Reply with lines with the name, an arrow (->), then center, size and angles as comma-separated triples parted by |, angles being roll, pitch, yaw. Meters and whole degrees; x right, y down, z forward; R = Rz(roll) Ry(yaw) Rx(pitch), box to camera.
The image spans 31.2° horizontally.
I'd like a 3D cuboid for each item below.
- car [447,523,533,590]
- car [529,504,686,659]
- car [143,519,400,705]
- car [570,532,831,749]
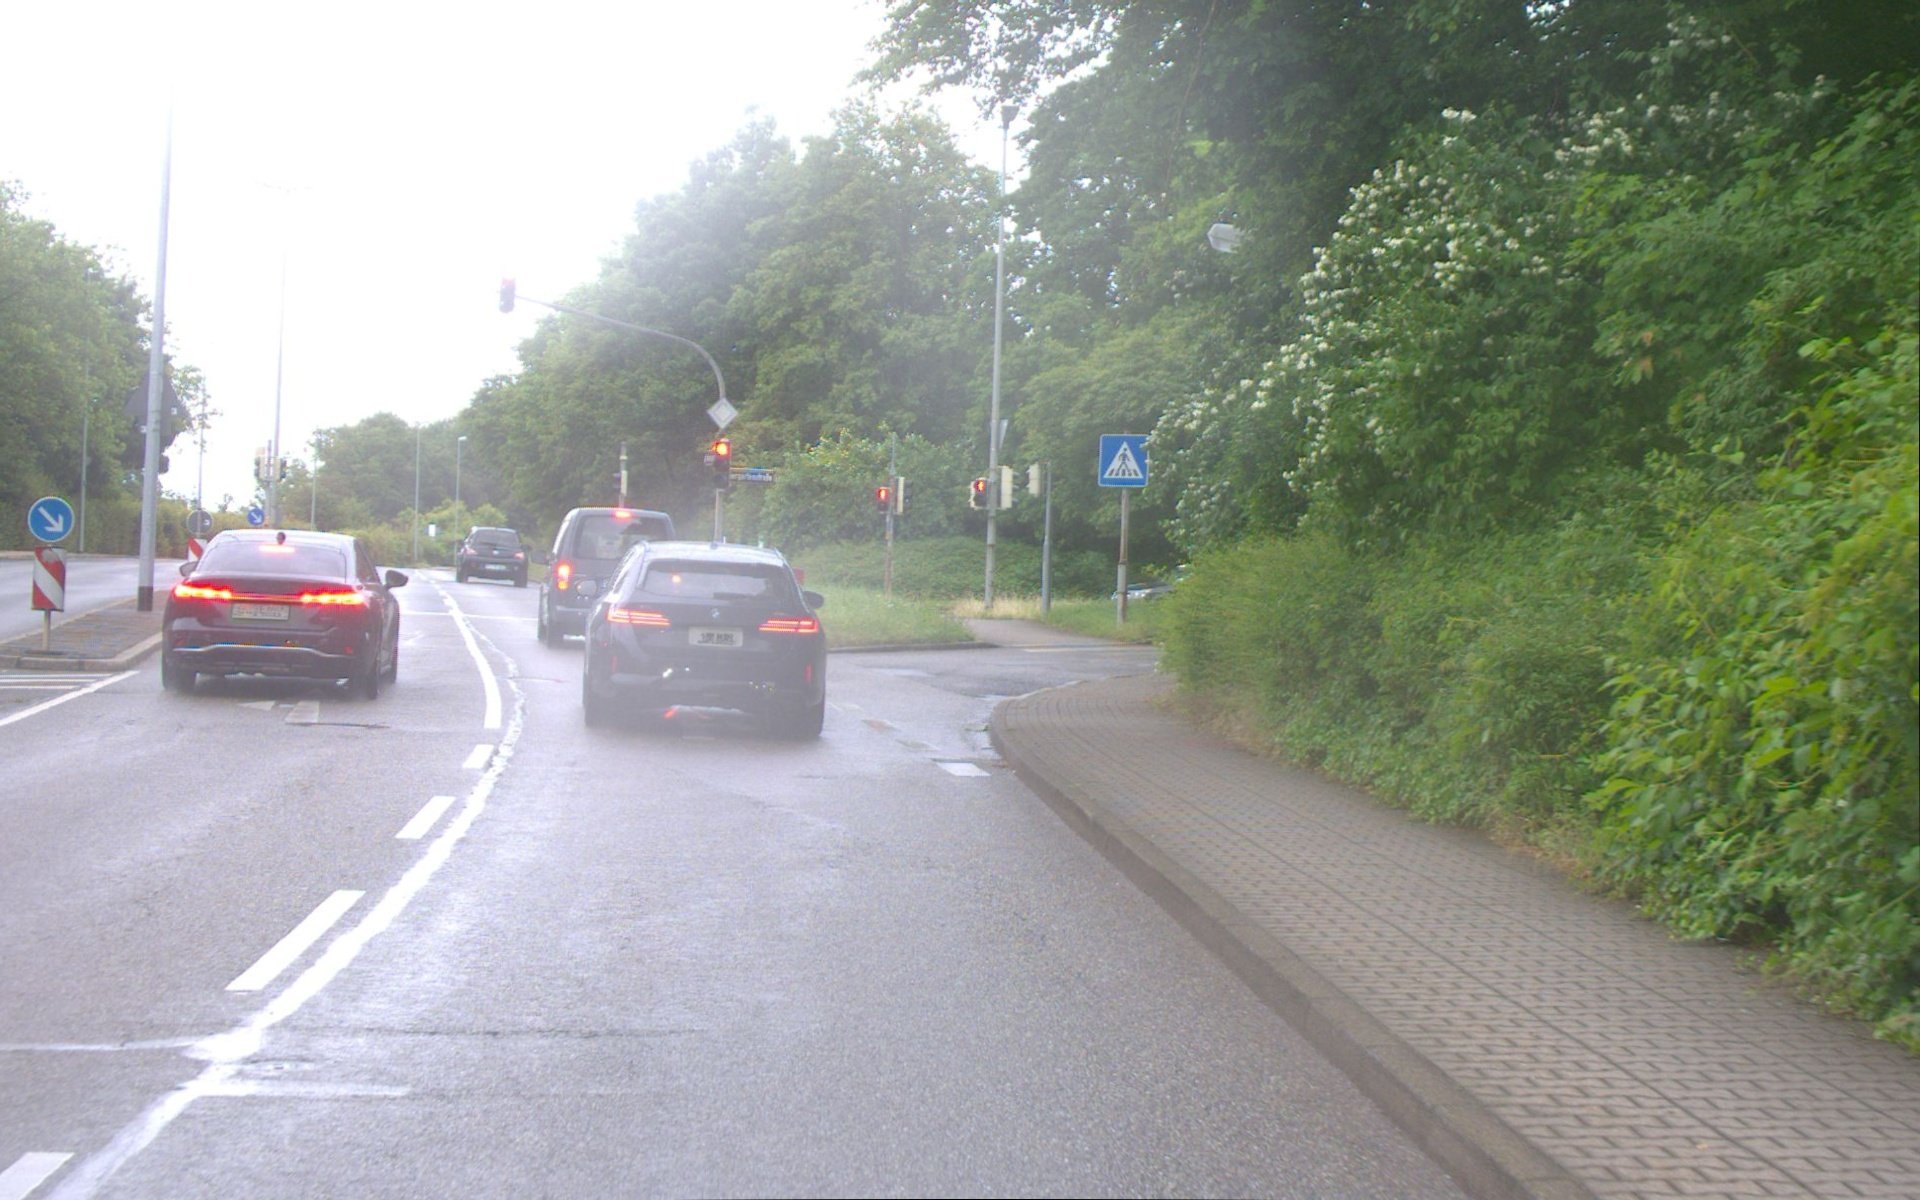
car -> -11.887, -1.100, 86.796 | 1.993, 1.618, 3.953 | 1, 1, -10
car -> -4.708, -0.267, 45.508 | 1.817, 1.862, 3.953 | 3, 0, -8
car -> -6.079, 0.068, 30.779 | 1.993, 1.522, 4.329 | 1, 1, -8
car -> -2.181, 0.305, 28.593 | 1.898, 1.546, 4.615 | 4, 0, -5
